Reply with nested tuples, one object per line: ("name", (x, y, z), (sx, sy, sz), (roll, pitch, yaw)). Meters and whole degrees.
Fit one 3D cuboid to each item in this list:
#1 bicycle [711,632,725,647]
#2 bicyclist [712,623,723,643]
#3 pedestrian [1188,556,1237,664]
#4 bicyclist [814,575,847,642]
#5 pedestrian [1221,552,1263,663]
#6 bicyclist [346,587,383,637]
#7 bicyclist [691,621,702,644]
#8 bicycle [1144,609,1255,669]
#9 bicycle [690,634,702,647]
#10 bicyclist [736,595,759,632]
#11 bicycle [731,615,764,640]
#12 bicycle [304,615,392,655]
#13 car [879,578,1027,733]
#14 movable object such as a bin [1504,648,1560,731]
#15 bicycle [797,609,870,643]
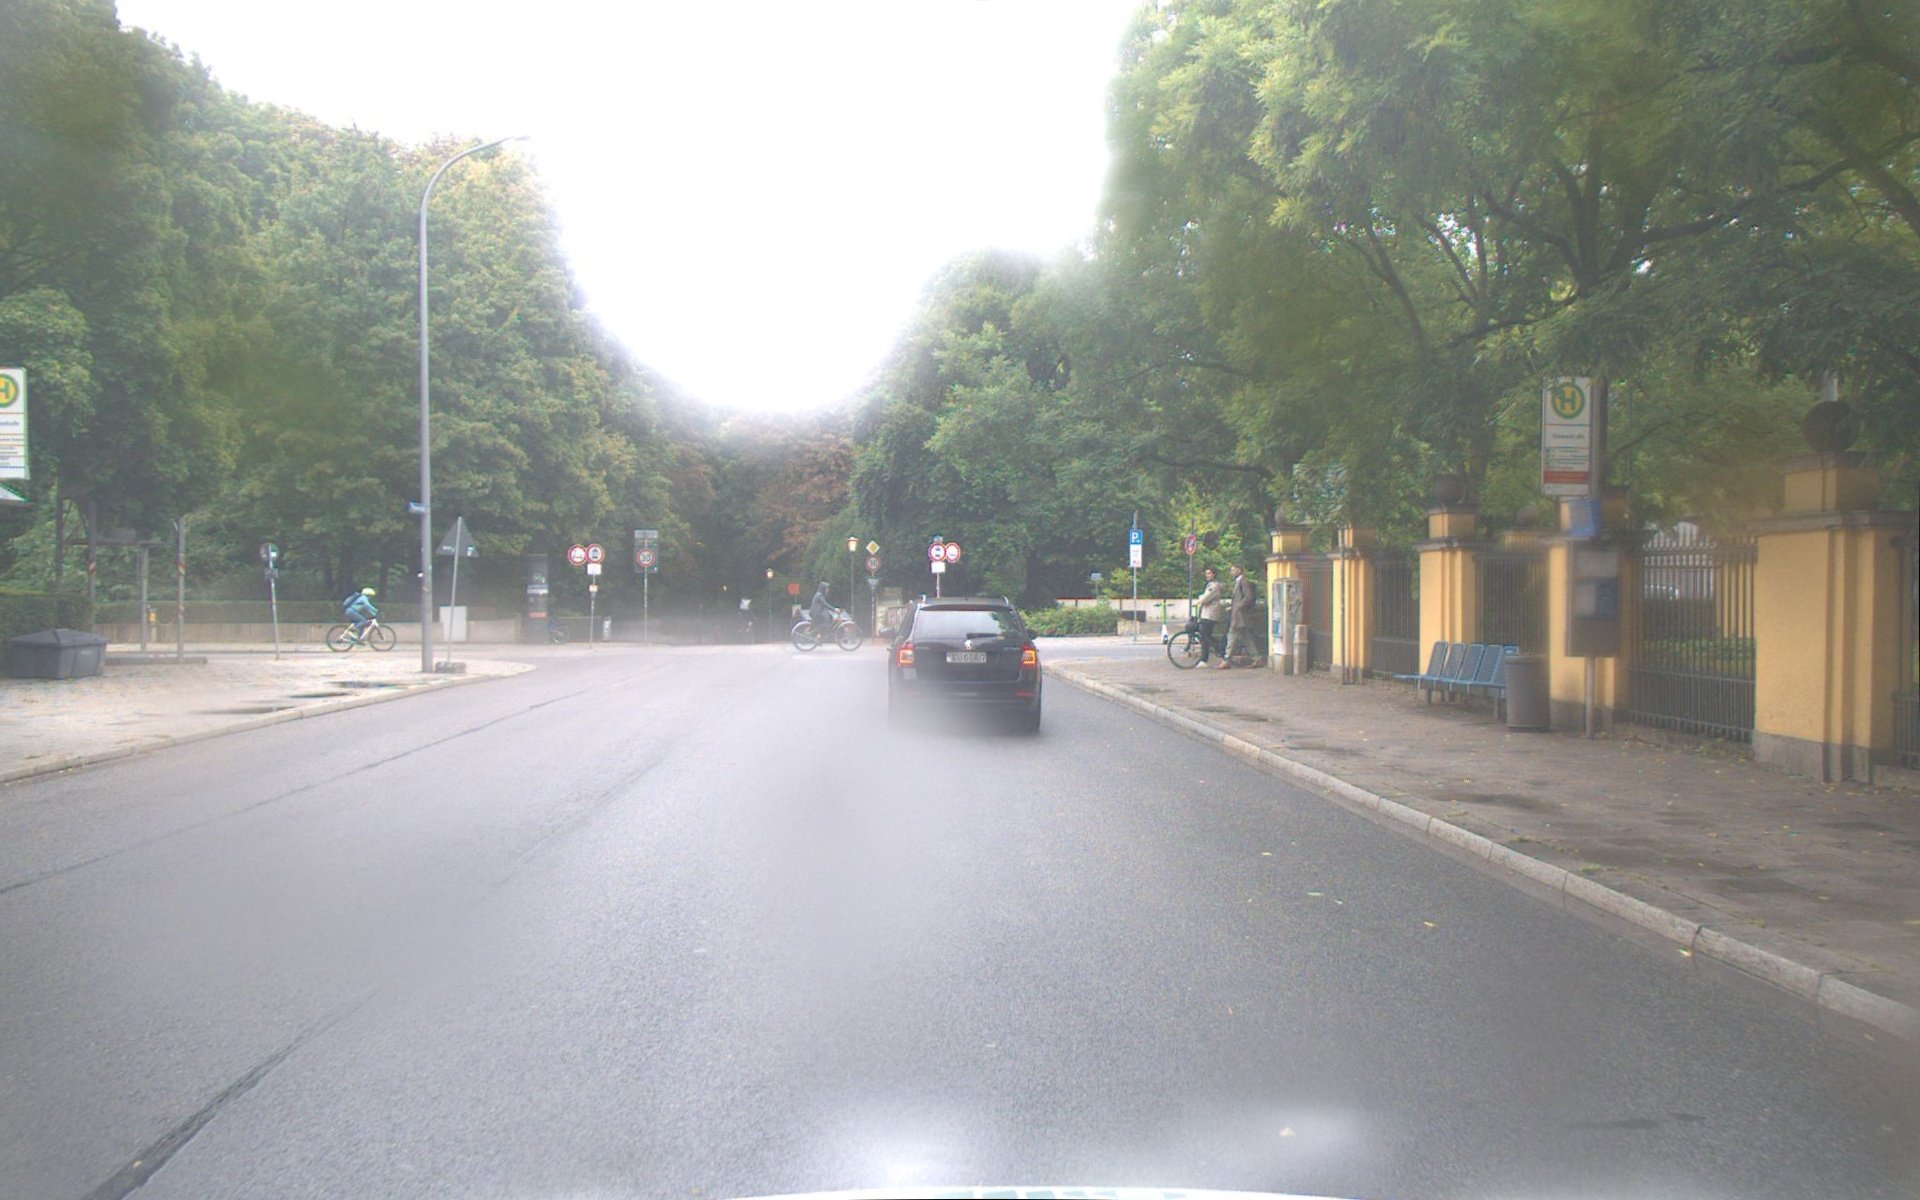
("bicycle", (-14.791, 2.397, 100.914), (0.668, 0.844, 2.102), (0, -1, -13))
("bicyclist", (-14.797, 1.996, 100.921), (0.669, 1.208, 0.479), (-1, 0, -14))
("pedestrian", (4.708, 0.184, 30.855), (0.662, 1.952, 0.639), (-2, 0, -11))
("bicyclist", (-3.141, 0.200, 40.116), (0.735, 1.613, 0.655), (0, -1, -1))
("pedestrian", (5.068, 0.136, 29.717), (0.531, 1.952, 0.491), (-2, 0, -11))
("bicyclist", (-15.575, 0.311, 43.249), (0.842, 1.279, 0.519), (0, -1, -30))
("bicyclist", (-18.054, 2.209, 113.151), (0.669, 1.530, 0.898), (-1, 0, -13))
("bicycle", (4.364, 0.700, 30.162), (1.871, 0.966, 0.581), (-3, 0, -11))
("bicycle", (-18.009, 2.753, 112.907), (0.668, 0.844, 2.103), (0, -1, -13))
("bicyclist", (-7.528, 0.470, 58.686), (0.666, 1.305, 0.600), (-1, 0, 7))
("bicycle", (-7.521, 0.965, 58.599), (0.665, 0.844, 2.111), (-1, -1, 6))
("bicycle", (-15.935, 0.907, 43.111), (2.081, 1.008, 0.675), (0, -1, -31))
("car", (-0.107, 0.581, 19.388), (1.545, 1.611, 4.043), (0, 0, -1))
("movable object such as a bin", (5.704, 0.890, 16.499), (0.388, 0.794, 0.465), (-1, 0, -1))
("bicycle", (-3.052, 0.625, 40.107), (1.727, 0.810, 0.570), (0, -1, -1))
